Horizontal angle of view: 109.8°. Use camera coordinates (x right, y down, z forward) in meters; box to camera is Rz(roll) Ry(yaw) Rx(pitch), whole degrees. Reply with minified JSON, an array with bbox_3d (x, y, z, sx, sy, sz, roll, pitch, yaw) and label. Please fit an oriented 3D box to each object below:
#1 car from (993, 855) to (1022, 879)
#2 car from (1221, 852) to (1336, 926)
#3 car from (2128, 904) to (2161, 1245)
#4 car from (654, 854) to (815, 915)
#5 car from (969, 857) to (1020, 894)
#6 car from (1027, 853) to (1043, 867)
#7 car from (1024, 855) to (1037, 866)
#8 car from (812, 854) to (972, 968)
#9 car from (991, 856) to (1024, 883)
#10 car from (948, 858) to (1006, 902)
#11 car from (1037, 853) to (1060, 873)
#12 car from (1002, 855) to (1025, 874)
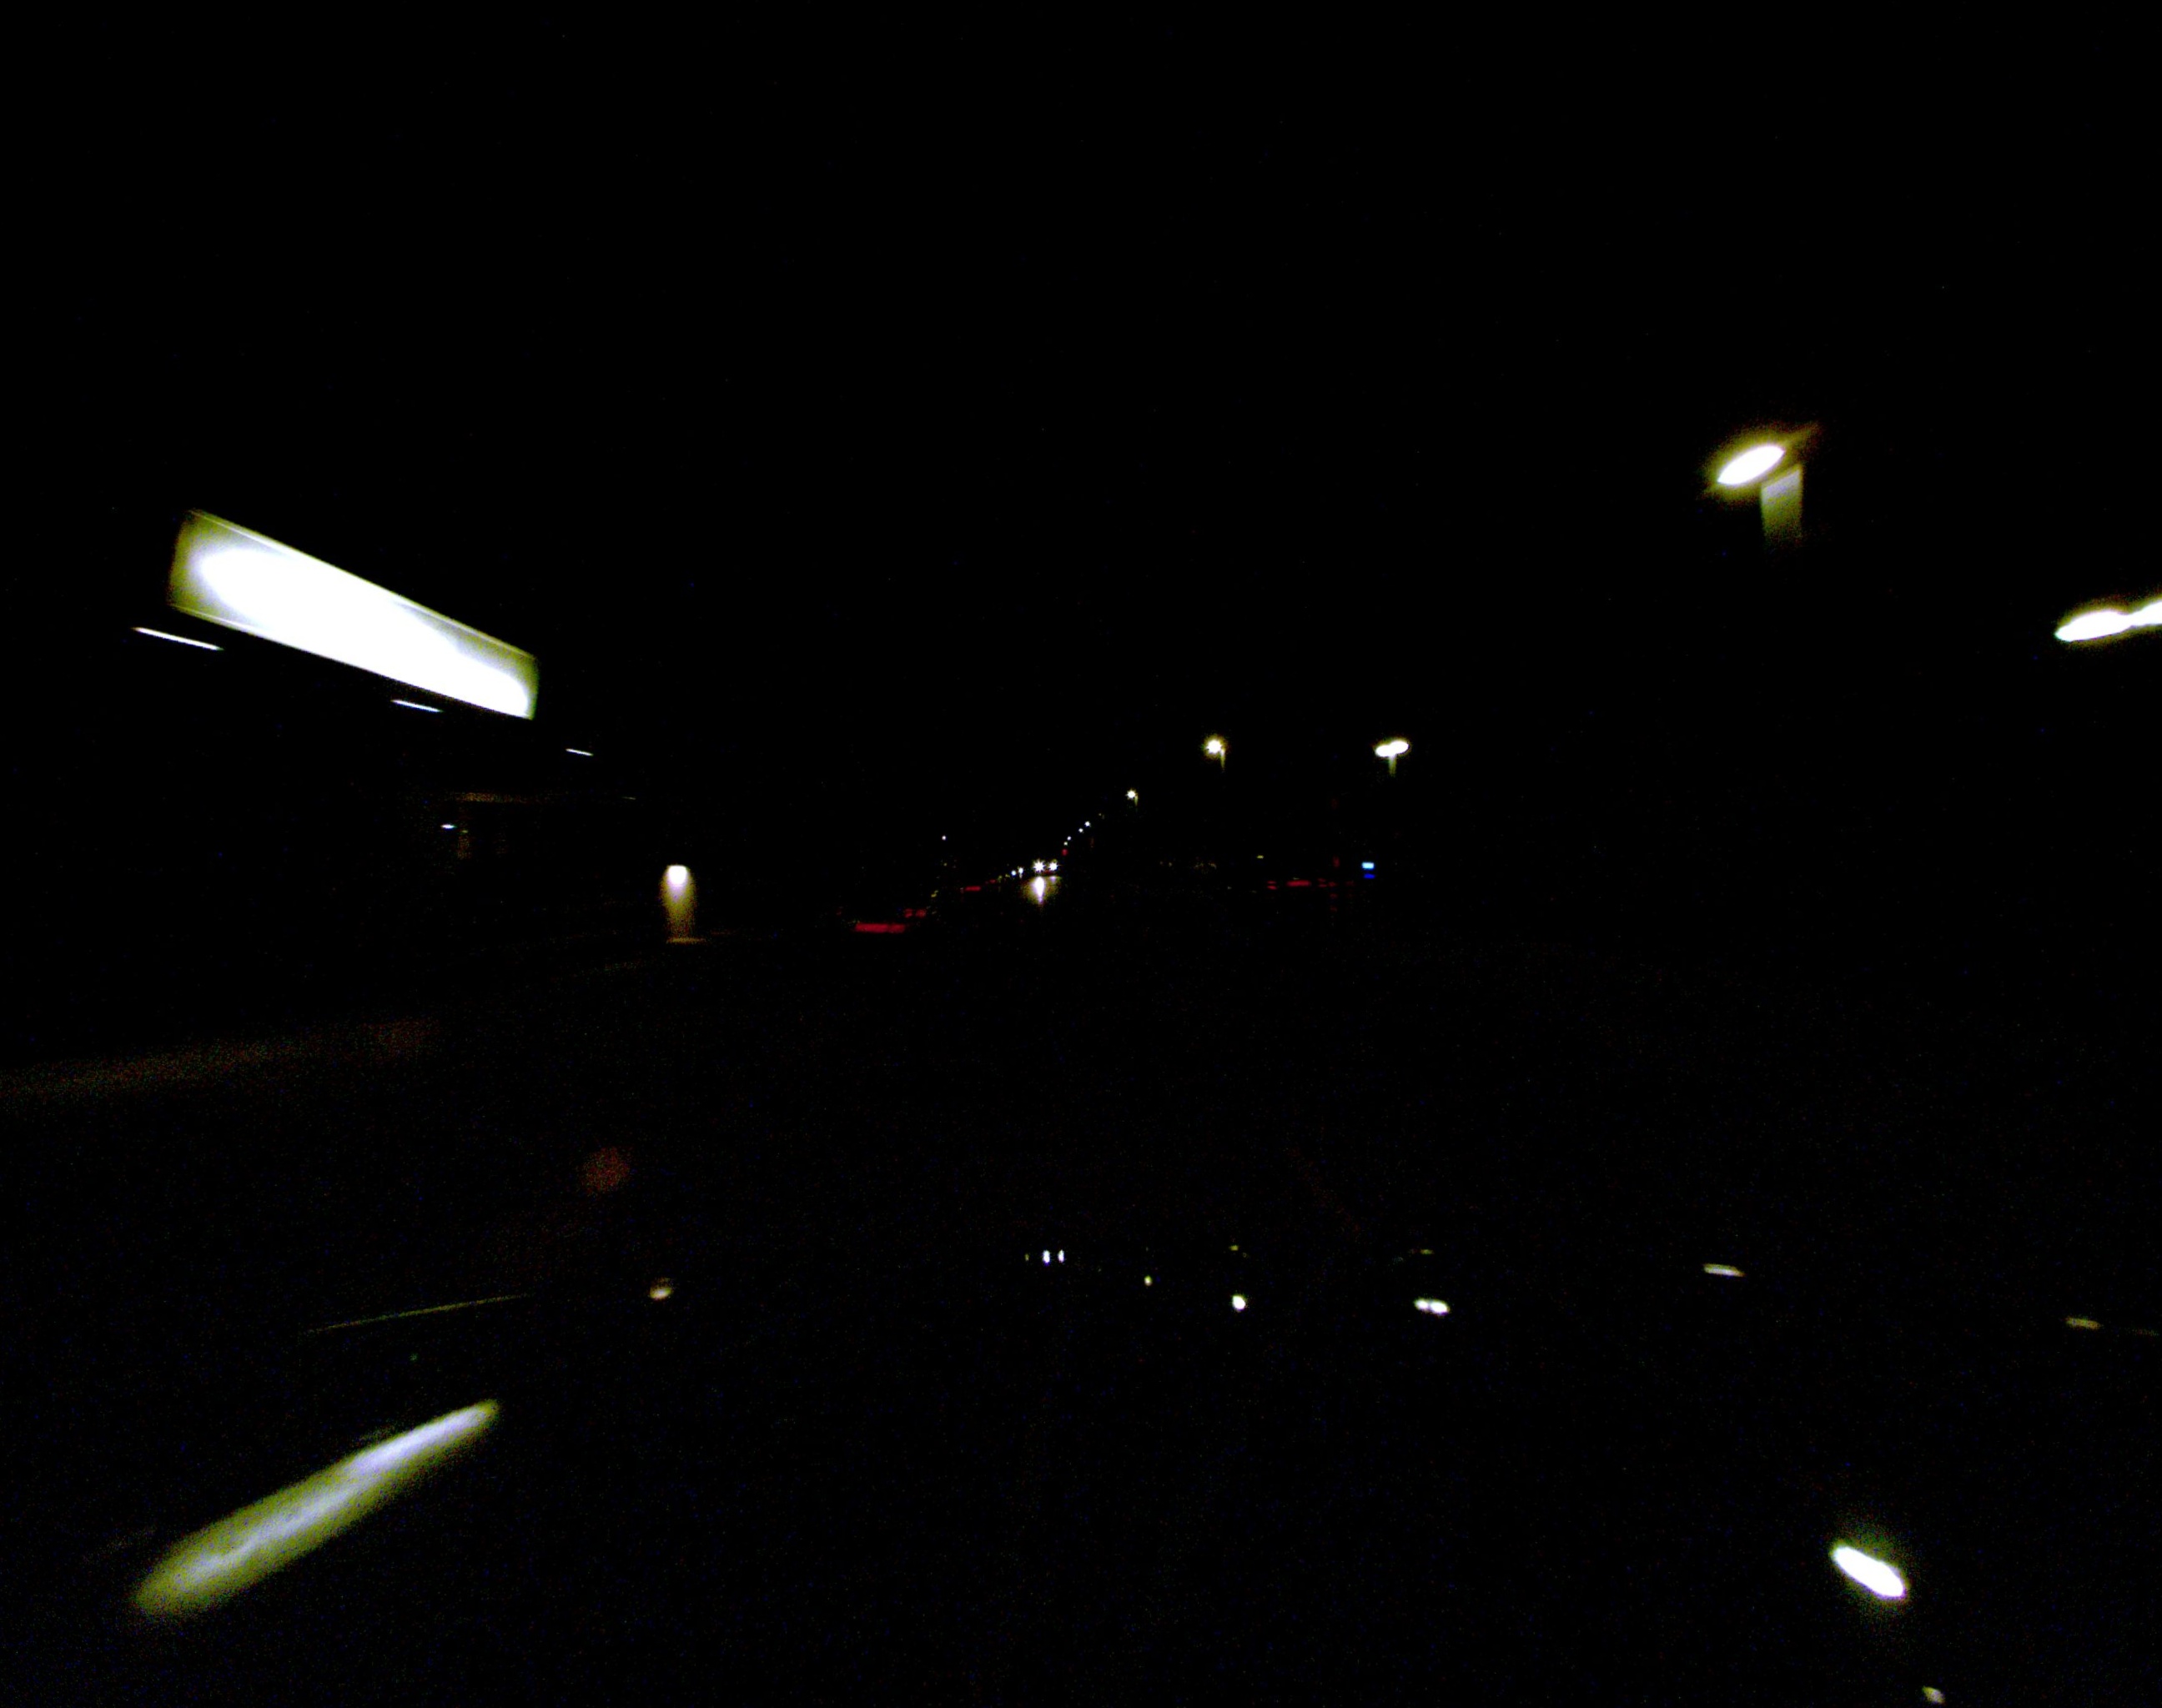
[{"bbox_3d":[-4.798,0.834,50.120,1.643,1.458,3.775,-2,1,-3],"label":"car"},{"bbox_3d":[4.722,0.775,18.695,1.696,1.515,3.689,-1,1,-3],"label":"car"},{"bbox_3d":[5.356,0.910,1.213,1.696,1.428,4.128,-2,0,1],"label":"car"},{"bbox_3d":[-10.057,0.817,22.145,4.076,1.576,1.703,0,1,-33],"label":"car"},{"bbox_3d":[-3.733,0.899,33.573,1.681,1.439,4.611,-2,0,0],"label":"car"},{"bbox_3d":[-5.156,0.660,84.701,1.656,1.465,3.516,-1,0,-4],"label":"car"},{"bbox_3d":[-7.129,0.865,107.016,1.702,1.447,3.712,-1,0,-4],"label":"car"},{"bbox_3d":[-3.101,0.839,13.388,1.792,1.632,4.379,1,0,-1],"label":"car"},{"bbox_3d":[-4.303,0.883,45.052,1.767,1.407,4.438,-1,0,-4],"label":"car"},{"bbox_3d":[-3.825,0.915,28.499,1.785,1.429,4.288,-2,0,-4],"label":"car"},{"bbox_3d":[-2.561,0.681,59.283,1.628,1.496,3.548,-1,0,-4],"label":"car"},{"bbox_3d":[-5.366,0.828,60.545,1.681,1.439,3.998,-1,0,-5],"label":"car"}]
